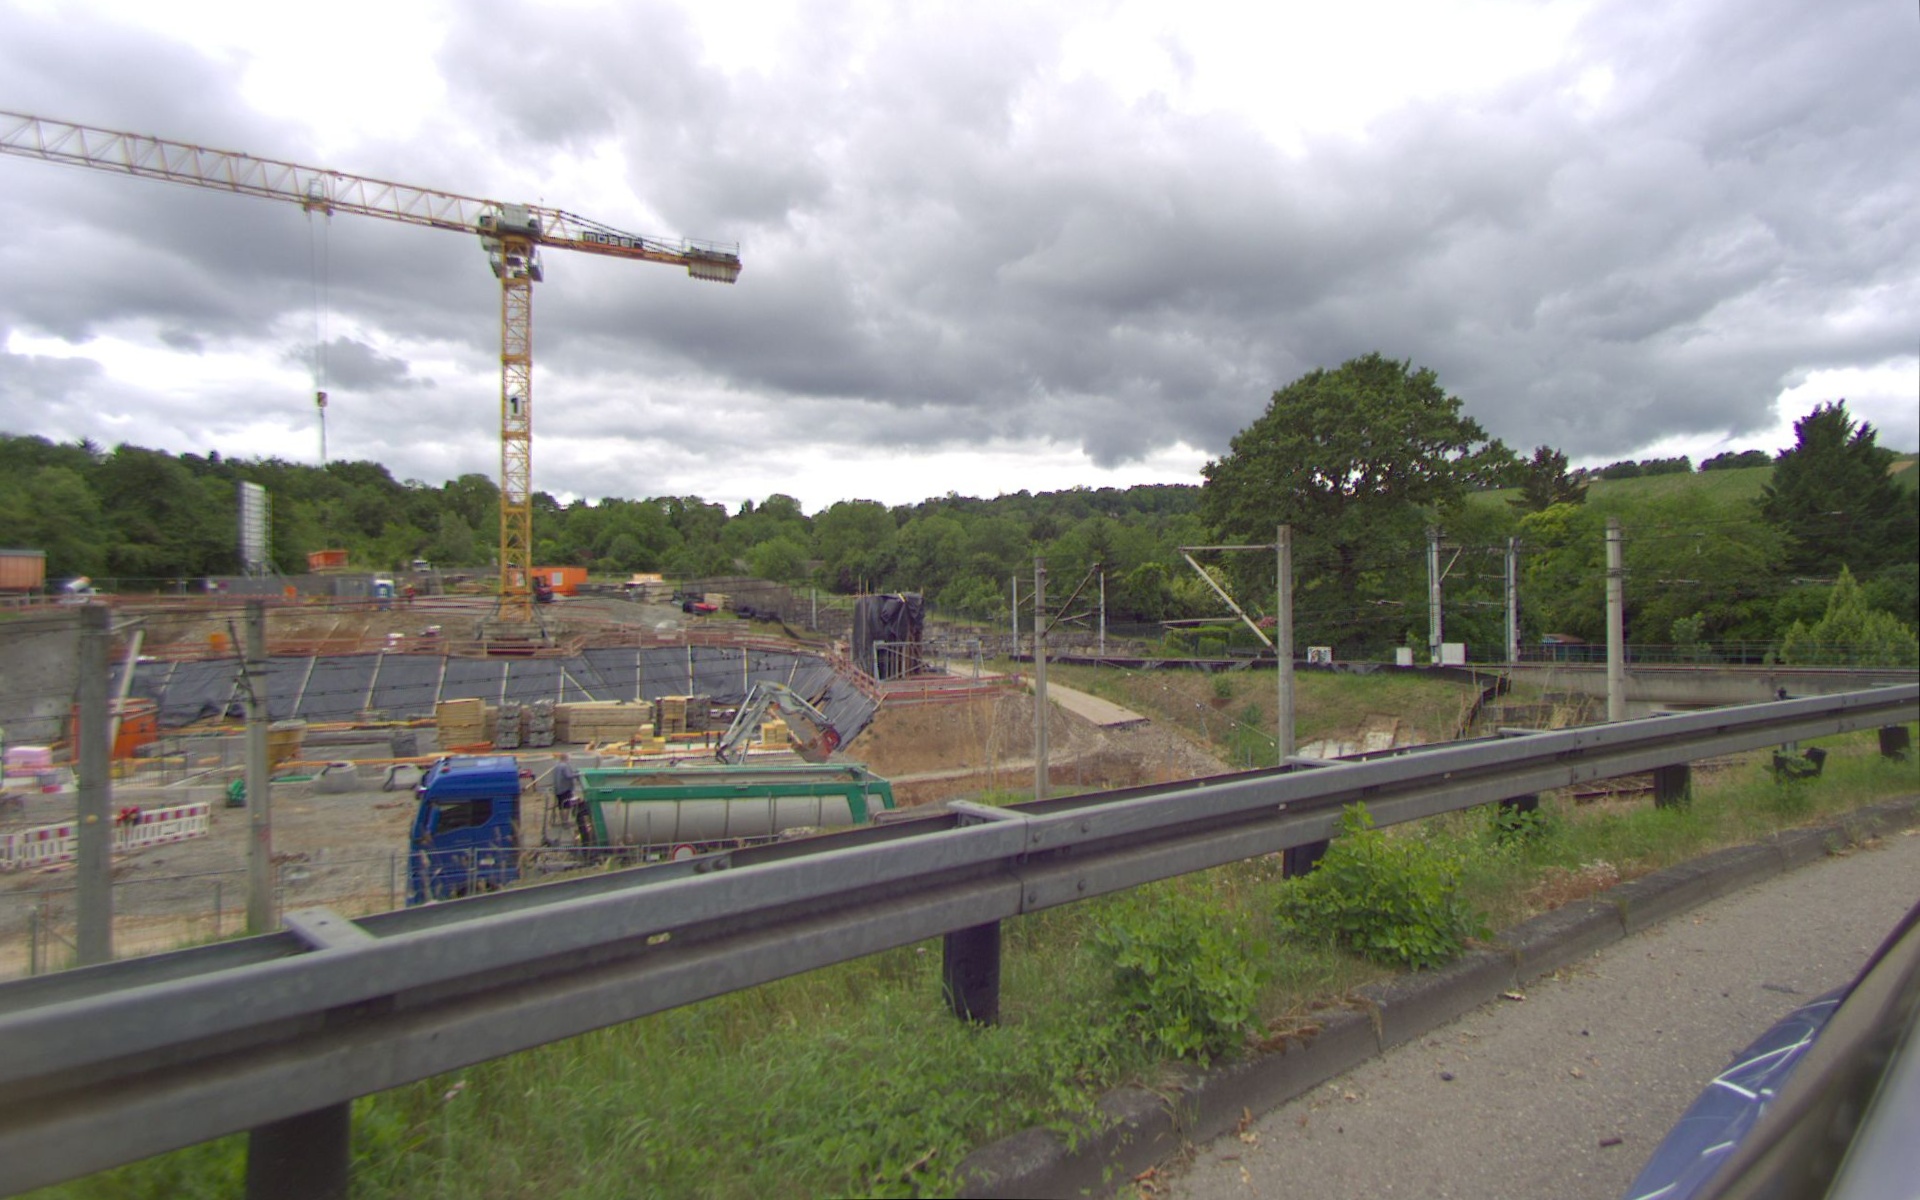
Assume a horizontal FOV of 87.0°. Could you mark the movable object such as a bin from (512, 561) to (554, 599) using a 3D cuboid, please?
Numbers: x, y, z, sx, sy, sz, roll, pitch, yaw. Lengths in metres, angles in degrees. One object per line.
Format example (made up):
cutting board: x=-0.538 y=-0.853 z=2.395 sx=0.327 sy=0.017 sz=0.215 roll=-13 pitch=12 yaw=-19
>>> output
movable object such as a bin: x=-35.996 y=-1.663 z=85.346 sx=2.744 sy=3.116 sz=1.843 roll=-1 pitch=0 yaw=-5

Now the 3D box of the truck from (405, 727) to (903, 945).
truck: x=-7.246 y=5.485 z=25.298 sx=11.379 sy=3.943 sz=2.851 roll=1 pitch=-2 yaw=-26

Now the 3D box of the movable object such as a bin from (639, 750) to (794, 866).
movable object such as a bin: x=-7.112 y=6.110 z=30.150 sx=4.199 sy=2.784 sz=3.052 roll=2 pitch=-1 yaw=-9

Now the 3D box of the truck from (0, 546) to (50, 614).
truck: x=-61.466 y=-1.257 z=62.049 sx=3.058 sy=4.274 sz=9.801 roll=0 pitch=0 yaw=-5

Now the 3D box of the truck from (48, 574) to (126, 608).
truck: x=-58.392 y=-0.559 z=67.782 sx=1.960 sy=2.040 sz=4.001 roll=-1 pitch=-2 yaw=-4
